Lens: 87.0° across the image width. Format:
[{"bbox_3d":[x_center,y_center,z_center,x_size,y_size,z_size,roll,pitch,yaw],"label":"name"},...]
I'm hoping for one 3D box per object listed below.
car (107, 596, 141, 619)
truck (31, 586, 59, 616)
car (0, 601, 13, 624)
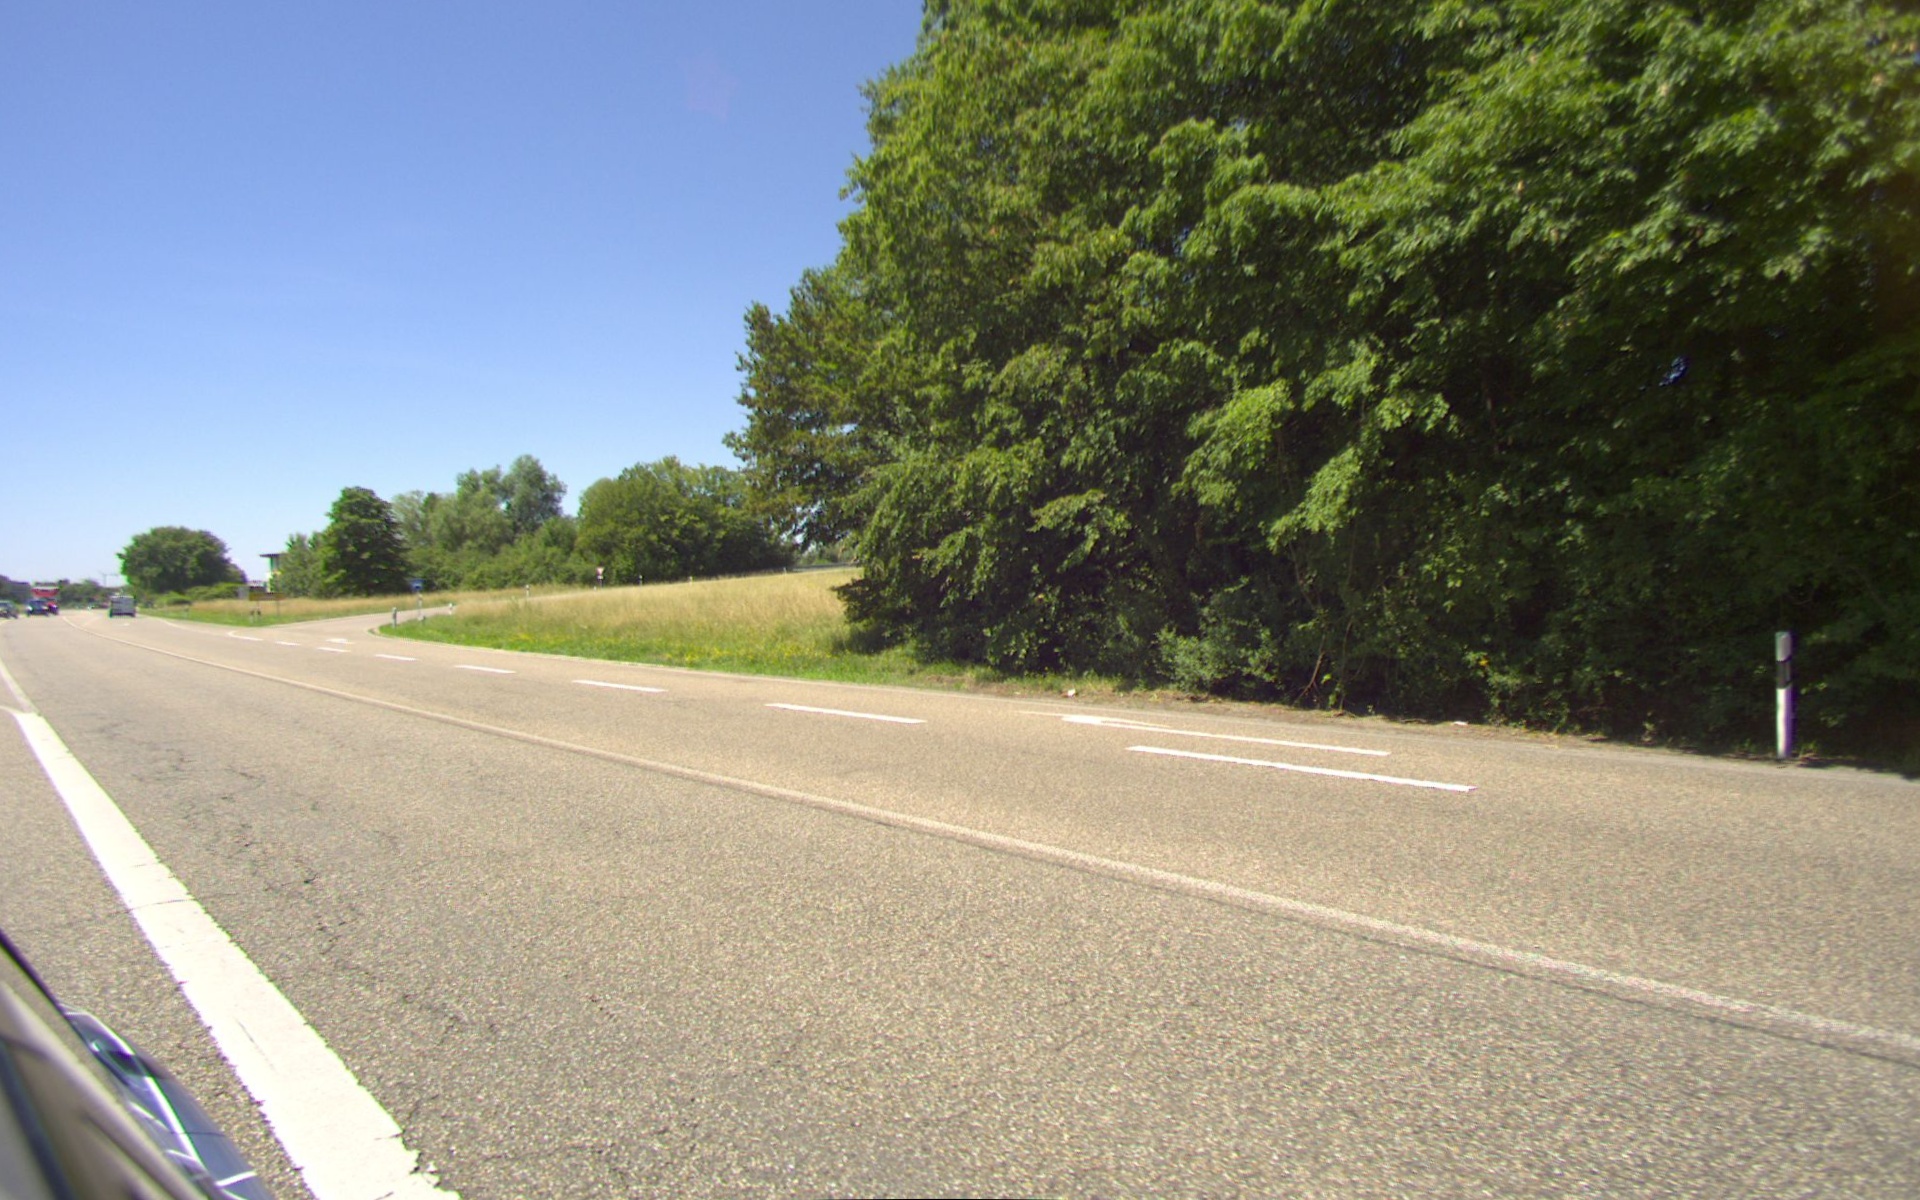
[{"bbox_3d":[-76.972,0.708,93.124,5.396,1.976,1.887,-3,-1,45],"label":"car"},{"bbox_3d":[-104.878,0.163,116.019,1.968,3.201,7.016,-1,-1,-39],"label":"truck"},{"bbox_3d":[-86.661,1.174,91.131,1.886,1.976,4.461,-1,-1,-42],"label":"car"}]
